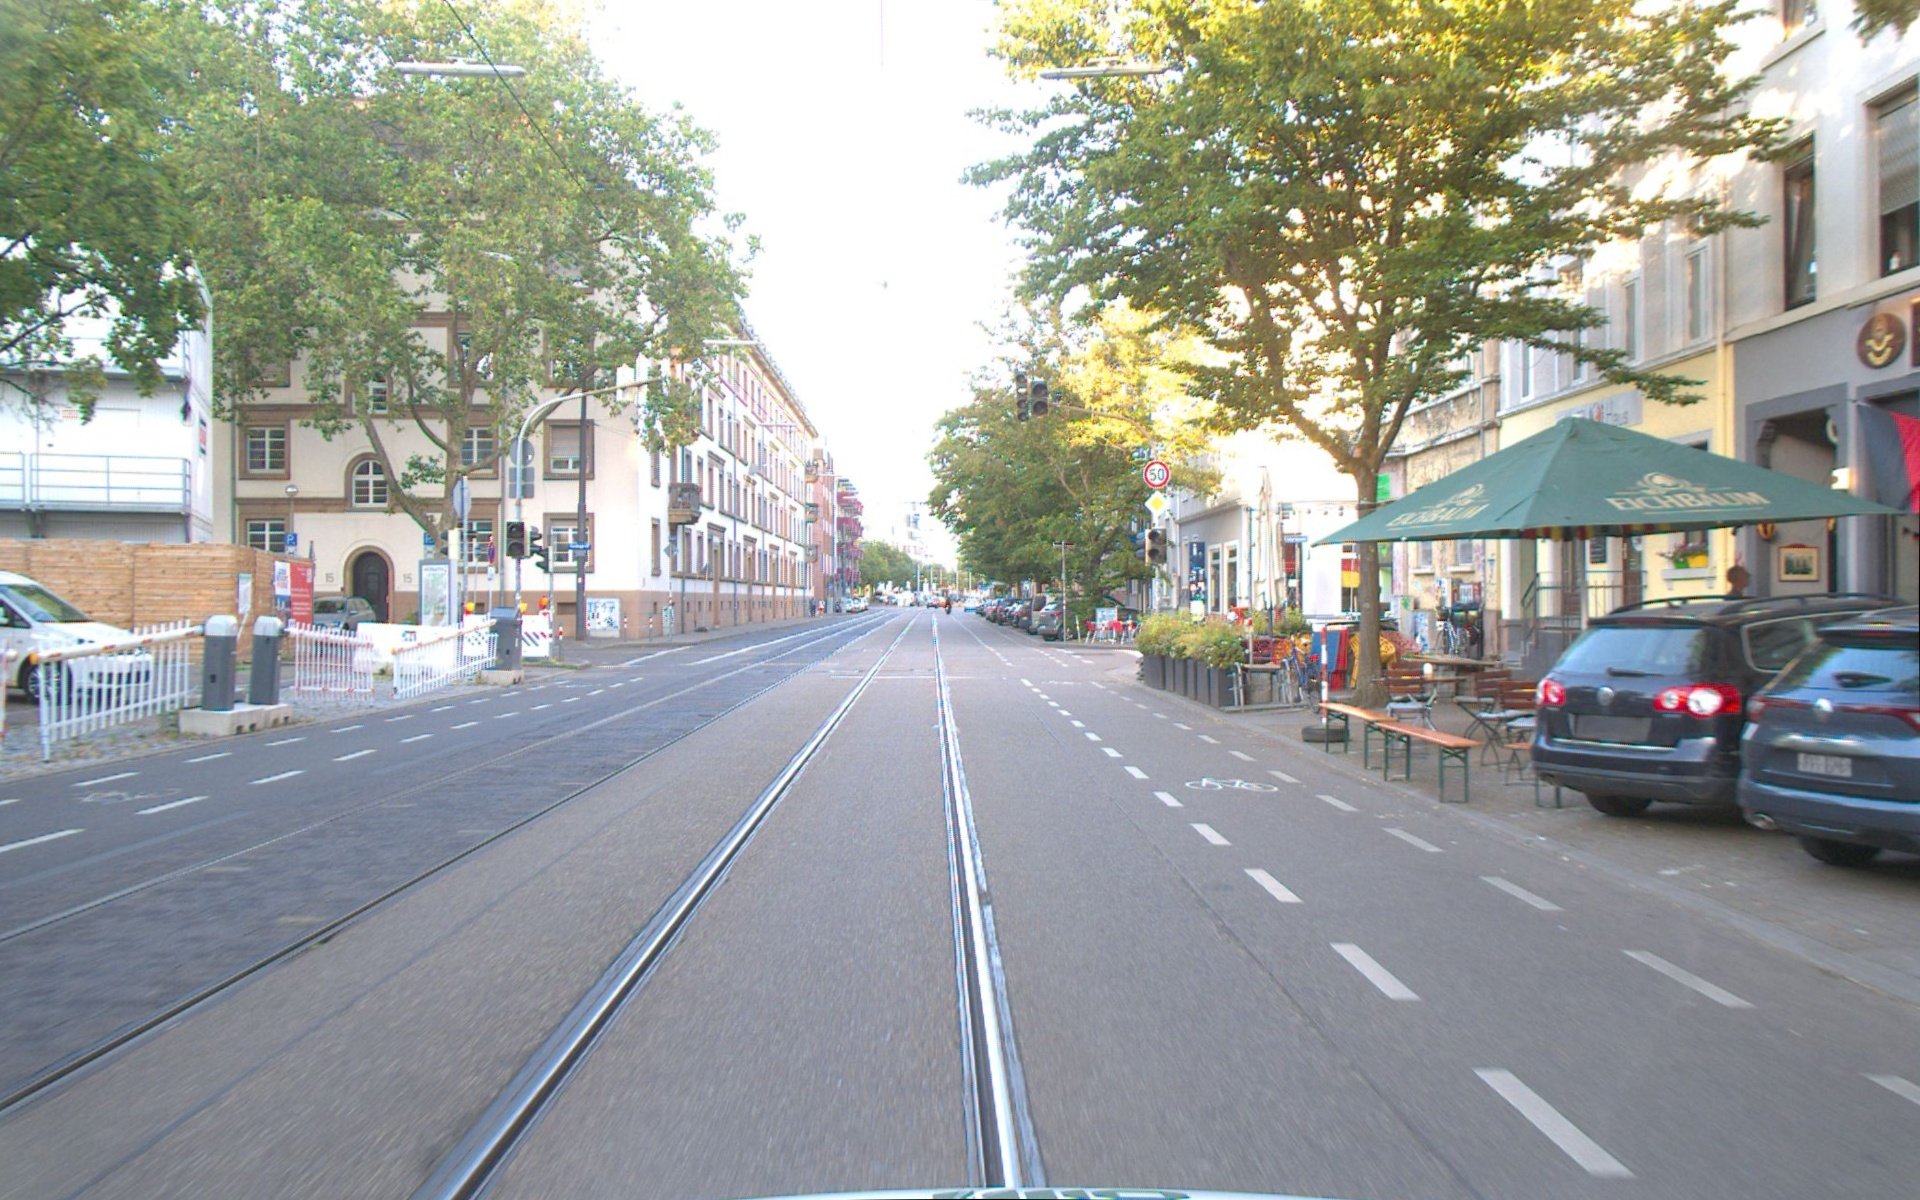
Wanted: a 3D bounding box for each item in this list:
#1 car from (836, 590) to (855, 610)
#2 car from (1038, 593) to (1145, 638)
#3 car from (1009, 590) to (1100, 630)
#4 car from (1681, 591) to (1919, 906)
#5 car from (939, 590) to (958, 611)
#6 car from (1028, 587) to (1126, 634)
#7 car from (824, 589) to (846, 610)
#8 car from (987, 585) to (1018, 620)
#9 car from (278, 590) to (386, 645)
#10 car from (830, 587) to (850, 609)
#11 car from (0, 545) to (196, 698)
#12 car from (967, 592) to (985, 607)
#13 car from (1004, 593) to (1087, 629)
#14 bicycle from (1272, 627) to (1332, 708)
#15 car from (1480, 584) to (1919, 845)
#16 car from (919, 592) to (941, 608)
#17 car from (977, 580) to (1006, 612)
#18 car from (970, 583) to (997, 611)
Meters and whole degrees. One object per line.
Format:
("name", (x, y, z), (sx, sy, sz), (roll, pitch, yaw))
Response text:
("car", (-12.201, 0.025, 176.425), (1.859, 2.049, 3.999), (1, 0, -1))
("car", (4.801, 0.558, 60.890), (3.808, 1.620, 1.861), (0, 0, 0))
("car", (4.025, 0.442, 71.074), (3.808, 1.690, 1.861), (0, 0, 0))
("car", (6.347, 0.675, 9.044), (4.109, 1.488, 1.999), (-1, 0, -17))
("car", (-1.175, 0.035, 169.296), (1.859, 2.049, 3.999), (1, 0, -1))
("car", (4.658, 0.423, 66.370), (3.808, 1.880, 1.861), (0, 0, 0))
("car", (-12.545, -0.078, 166.217), (1.859, 2.049, 3.999), (1, 0, -1))
("car", (2.528, 0.124, 99.825), (1.686, 2.049, 3.999), (1, 0, -1))
("car", (-19.789, 0.548, 52.287), (1.873, 1.668, 4.117), (0, 0, -1))
("car", (-12.365, -0.209, 170.866), (1.859, 2.216, 3.999), (1, 0, -1))
("car", (-13.763, 0.209, 23.276), (4.921, 1.979, 2.228), (2, 1, 3))
("car", (1.891, -0.010, 197.017), (1.923, 1.748, 3.999), (1, 0, -1))
("car", (3.987, 0.511, 77.729), (3.808, 1.690, 1.861), (0, 0, 0))
("bicycle", (4.679, 0.910, 22.731), (0.410, 1.033, 1.829), (1, 0, -1))
("car", (5.949, 0.667, 11.651), (4.123, 1.525, 1.992), (-1, 0, -26))
("car", (-4.097, -0.002, 226.584), (1.951, 2.049, 4.003), (1, 0, 13))
("car", (2.059, -0.261, 109.396), (1.768, 2.049, 3.999), (1, 0, -1))
("car", (1.717, -0.213, 122.522), (1.859, 2.049, 3.999), (1, 0, -1))
